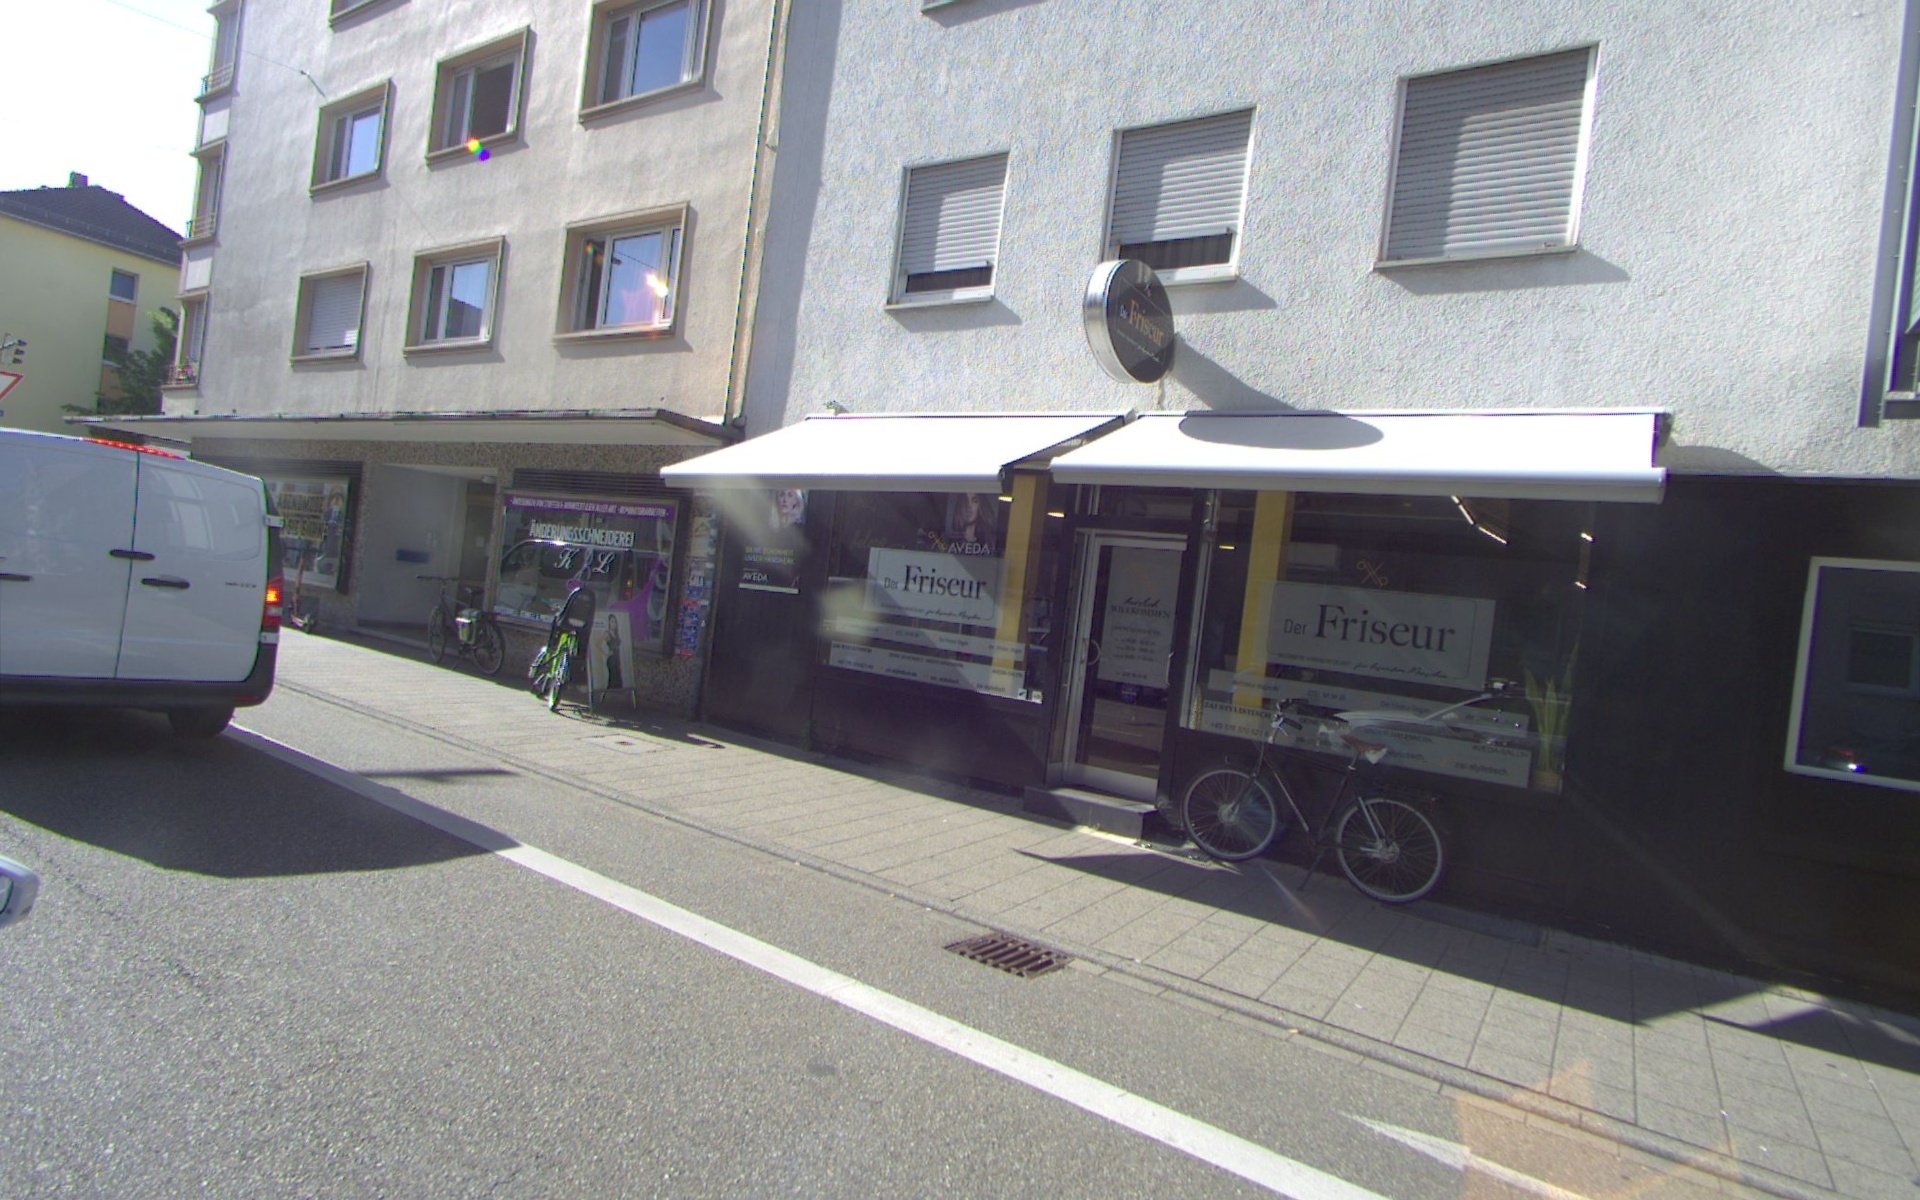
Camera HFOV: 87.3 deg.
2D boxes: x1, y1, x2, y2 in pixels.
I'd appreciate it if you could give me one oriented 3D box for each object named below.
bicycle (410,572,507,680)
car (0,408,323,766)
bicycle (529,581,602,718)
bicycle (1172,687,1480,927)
[{"bbox_3d":[-6.309,0.304,12.609,1.703,1.150,0.400,7,0,43],"label":"bicycle"},{"bbox_3d":[-6.833,-0.242,7.172,4.915,1.890,1.839,7,-2,33],"label":"car"},{"bbox_3d":[-4.278,0.488,10.844,0.434,1.266,1.746,5,2,-29],"label":"bicycle"},{"bbox_3d":[2.393,1.306,6.719,1.763,1.193,0.401,7,0,34],"label":"bicycle"}]
